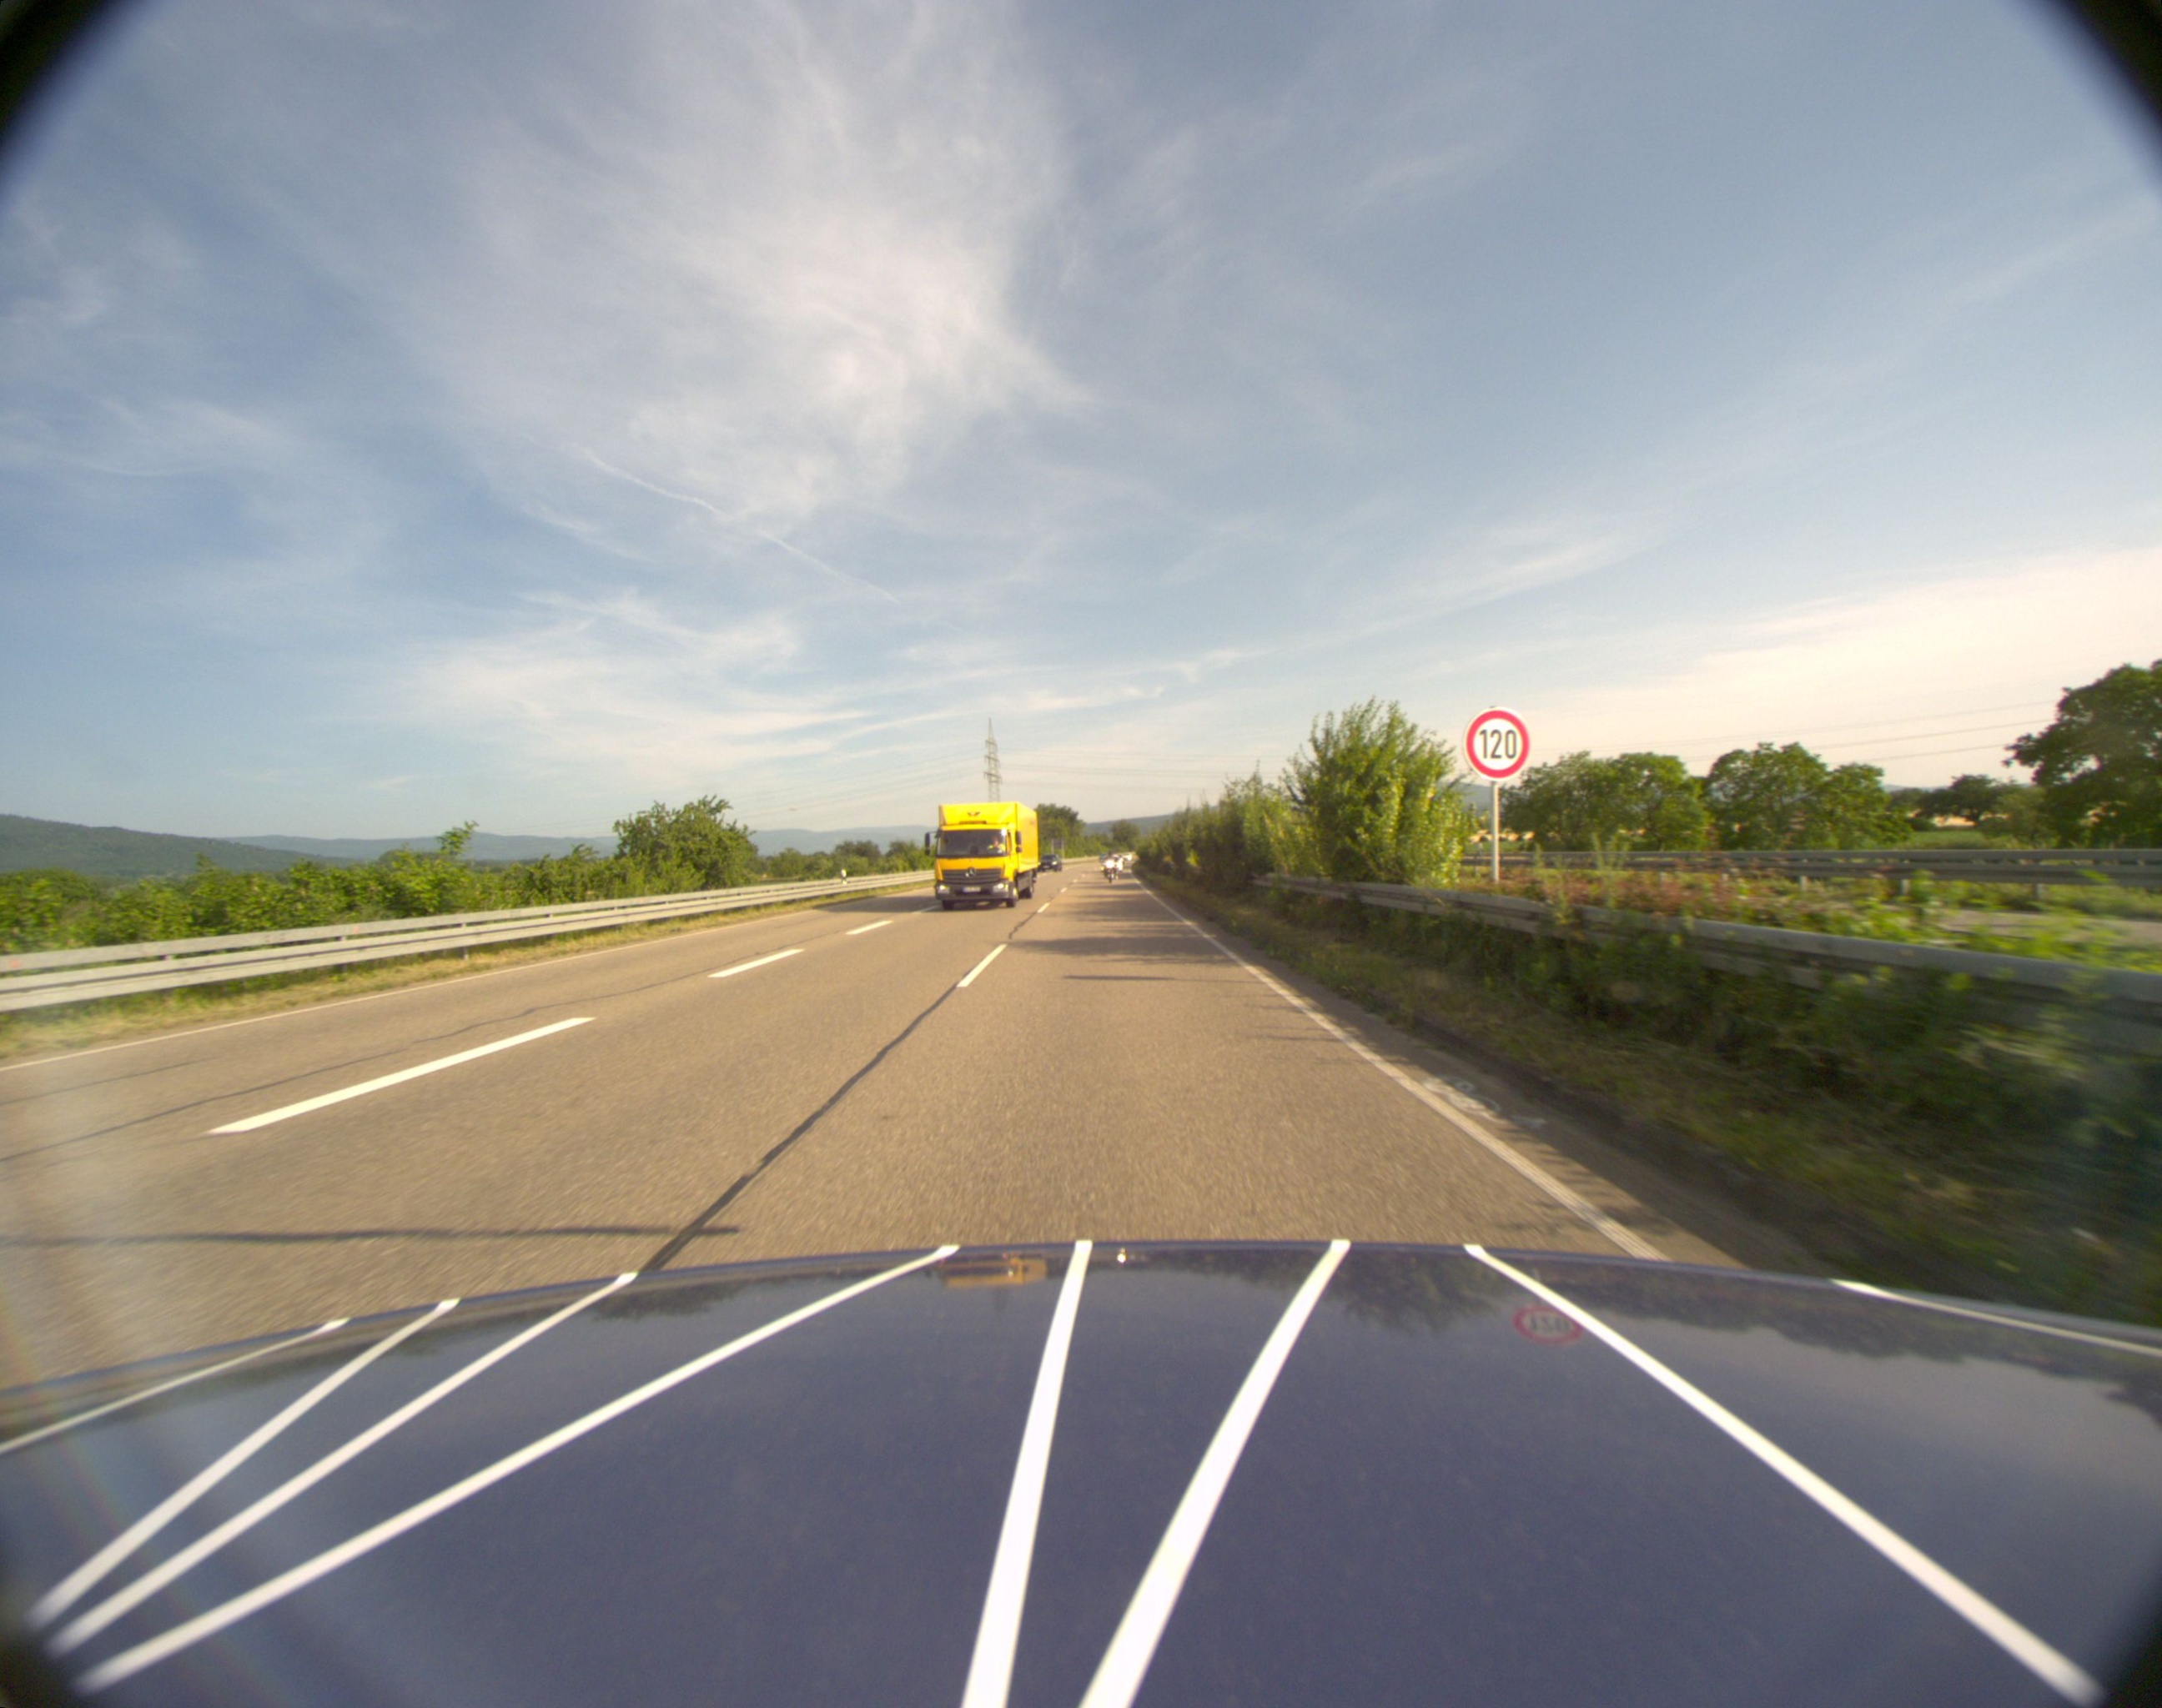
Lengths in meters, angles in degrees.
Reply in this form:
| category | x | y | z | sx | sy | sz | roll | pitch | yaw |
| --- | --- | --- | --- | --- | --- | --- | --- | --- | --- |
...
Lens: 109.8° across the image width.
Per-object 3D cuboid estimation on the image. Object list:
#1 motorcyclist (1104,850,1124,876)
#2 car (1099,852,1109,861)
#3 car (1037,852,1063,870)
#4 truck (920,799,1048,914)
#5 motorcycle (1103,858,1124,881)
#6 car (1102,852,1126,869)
| category | x | y | z | sx | sy | sz | roll | pitch | yaw |
| --- | --- | --- | --- | --- | --- | --- | --- | --- | --- |
| motorcyclist | 1.818 | 0.488 | 41.686 | 0.936 | 1.344 | 1.143 | -2 | 2 | 7 |
| car | 4.199 | 0.451 | 137.006 | 1.677 | 1.541 | 3.827 | -2 | 1 | 3 |
| car | -2.998 | 0.633 | 74.354 | 1.877 | 1.630 | 4.001 | -2 | 1 | 6 |
| truck | -3.105 | 0.035 | 27.652 | 2.785 | 3.297 | 10.490 | -2 | 0 | 2 |
| motorcycle | 1.808 | 0.840 | 41.673 | 0.936 | 1.132 | 2.583 | -2 | 1 | 6 |
| car | 2.922 | 0.558 | 67.065 | 1.868 | 1.454 | 4.085 | -2 | 0 | 5 |
